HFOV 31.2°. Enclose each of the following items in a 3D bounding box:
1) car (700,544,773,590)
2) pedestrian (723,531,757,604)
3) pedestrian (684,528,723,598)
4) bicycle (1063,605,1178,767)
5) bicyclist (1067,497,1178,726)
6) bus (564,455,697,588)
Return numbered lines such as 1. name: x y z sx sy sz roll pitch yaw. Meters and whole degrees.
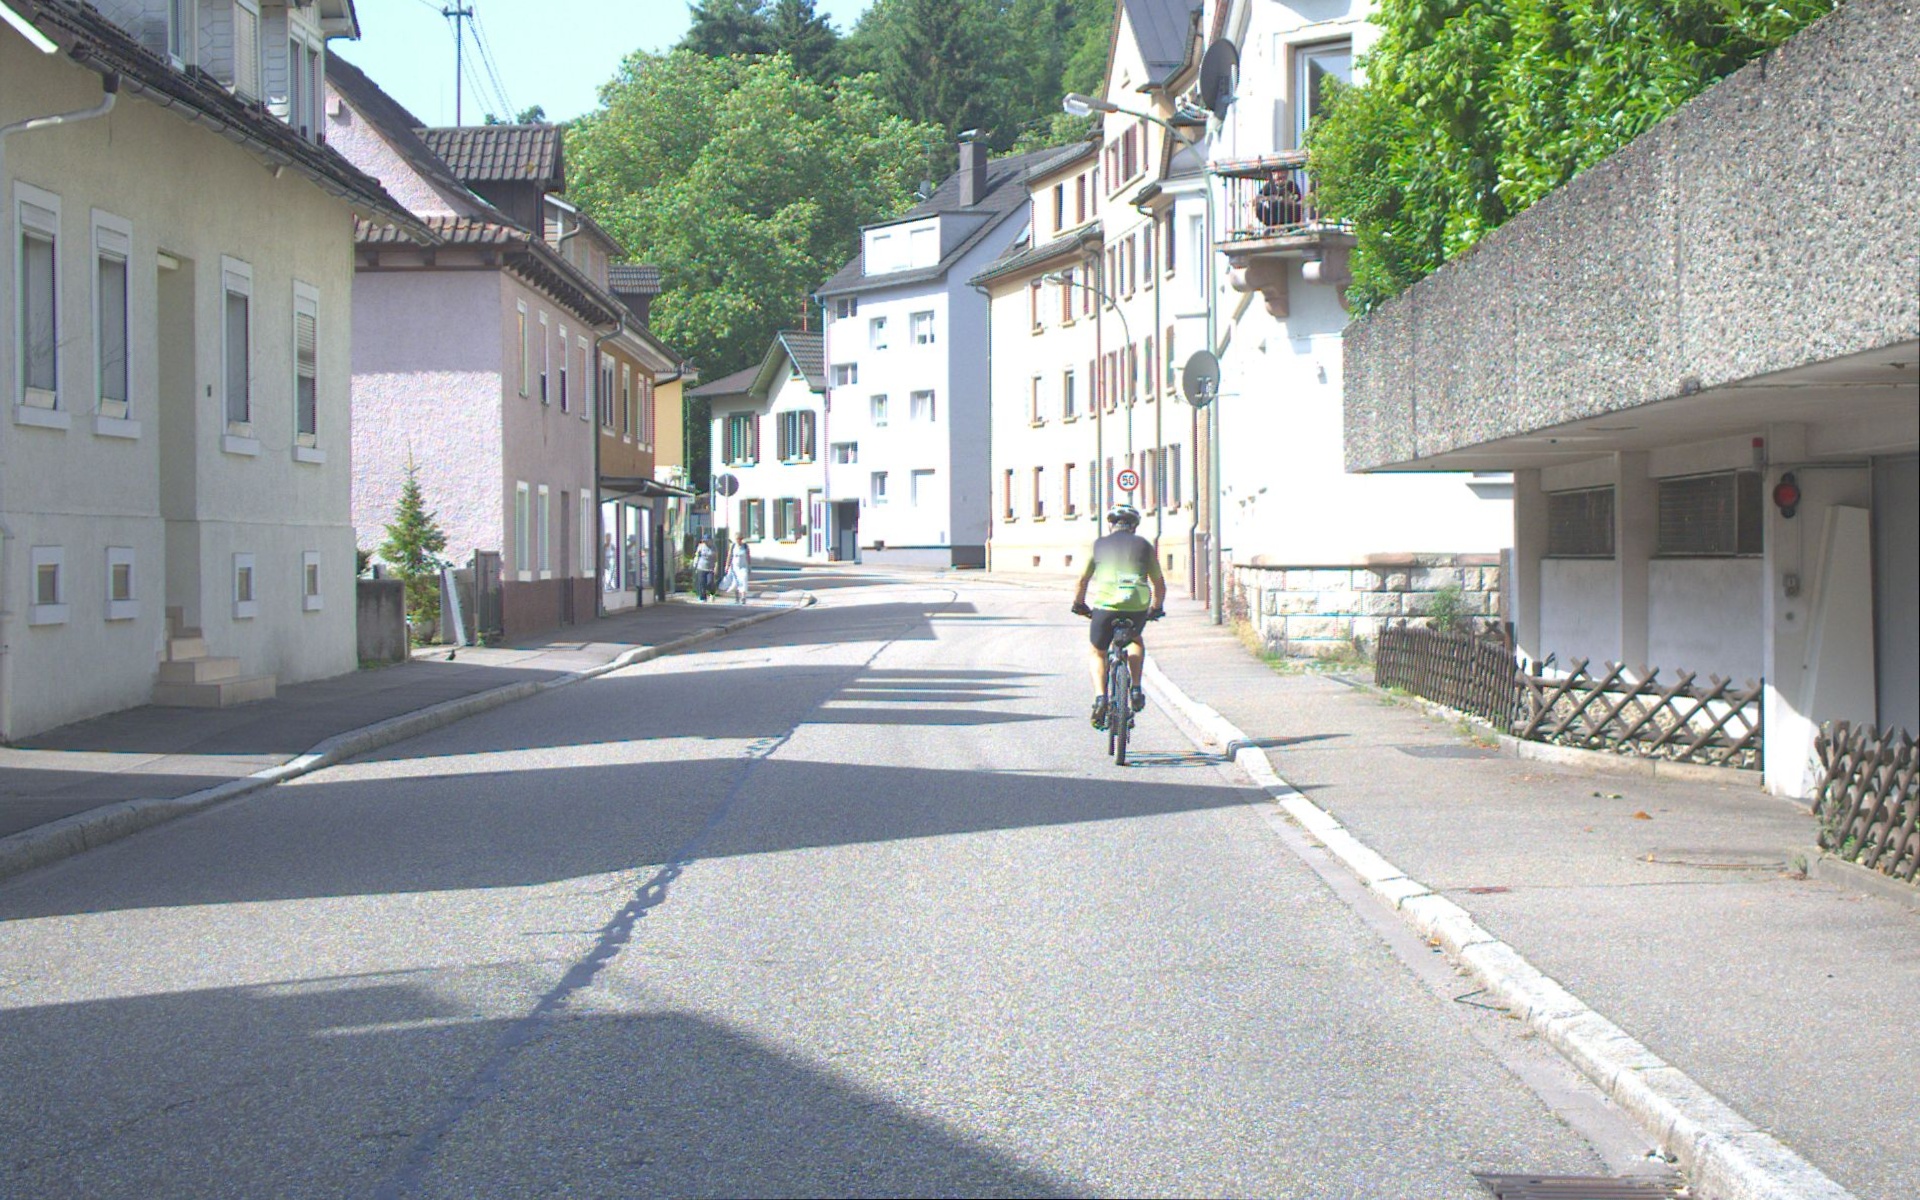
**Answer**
1. car: -7.706 -1.123 118.343 1.596 1.459 3.661 -4 1 -17
2. pedestrian: -4.990 -0.745 78.071 0.639 1.621 0.777 3 1 1
3. pedestrian: -5.831 -0.847 78.219 0.735 1.559 0.824 3 1 1
4. bicycle: 1.086 0.569 23.537 0.698 1.032 1.471 0 1 -1
5. bicyclist: 1.103 0.070 23.428 0.685 1.526 0.715 -1 1 -1
6. bus: -8.431 -2.026 88.861 2.820 3.217 9.037 1 1 -2
